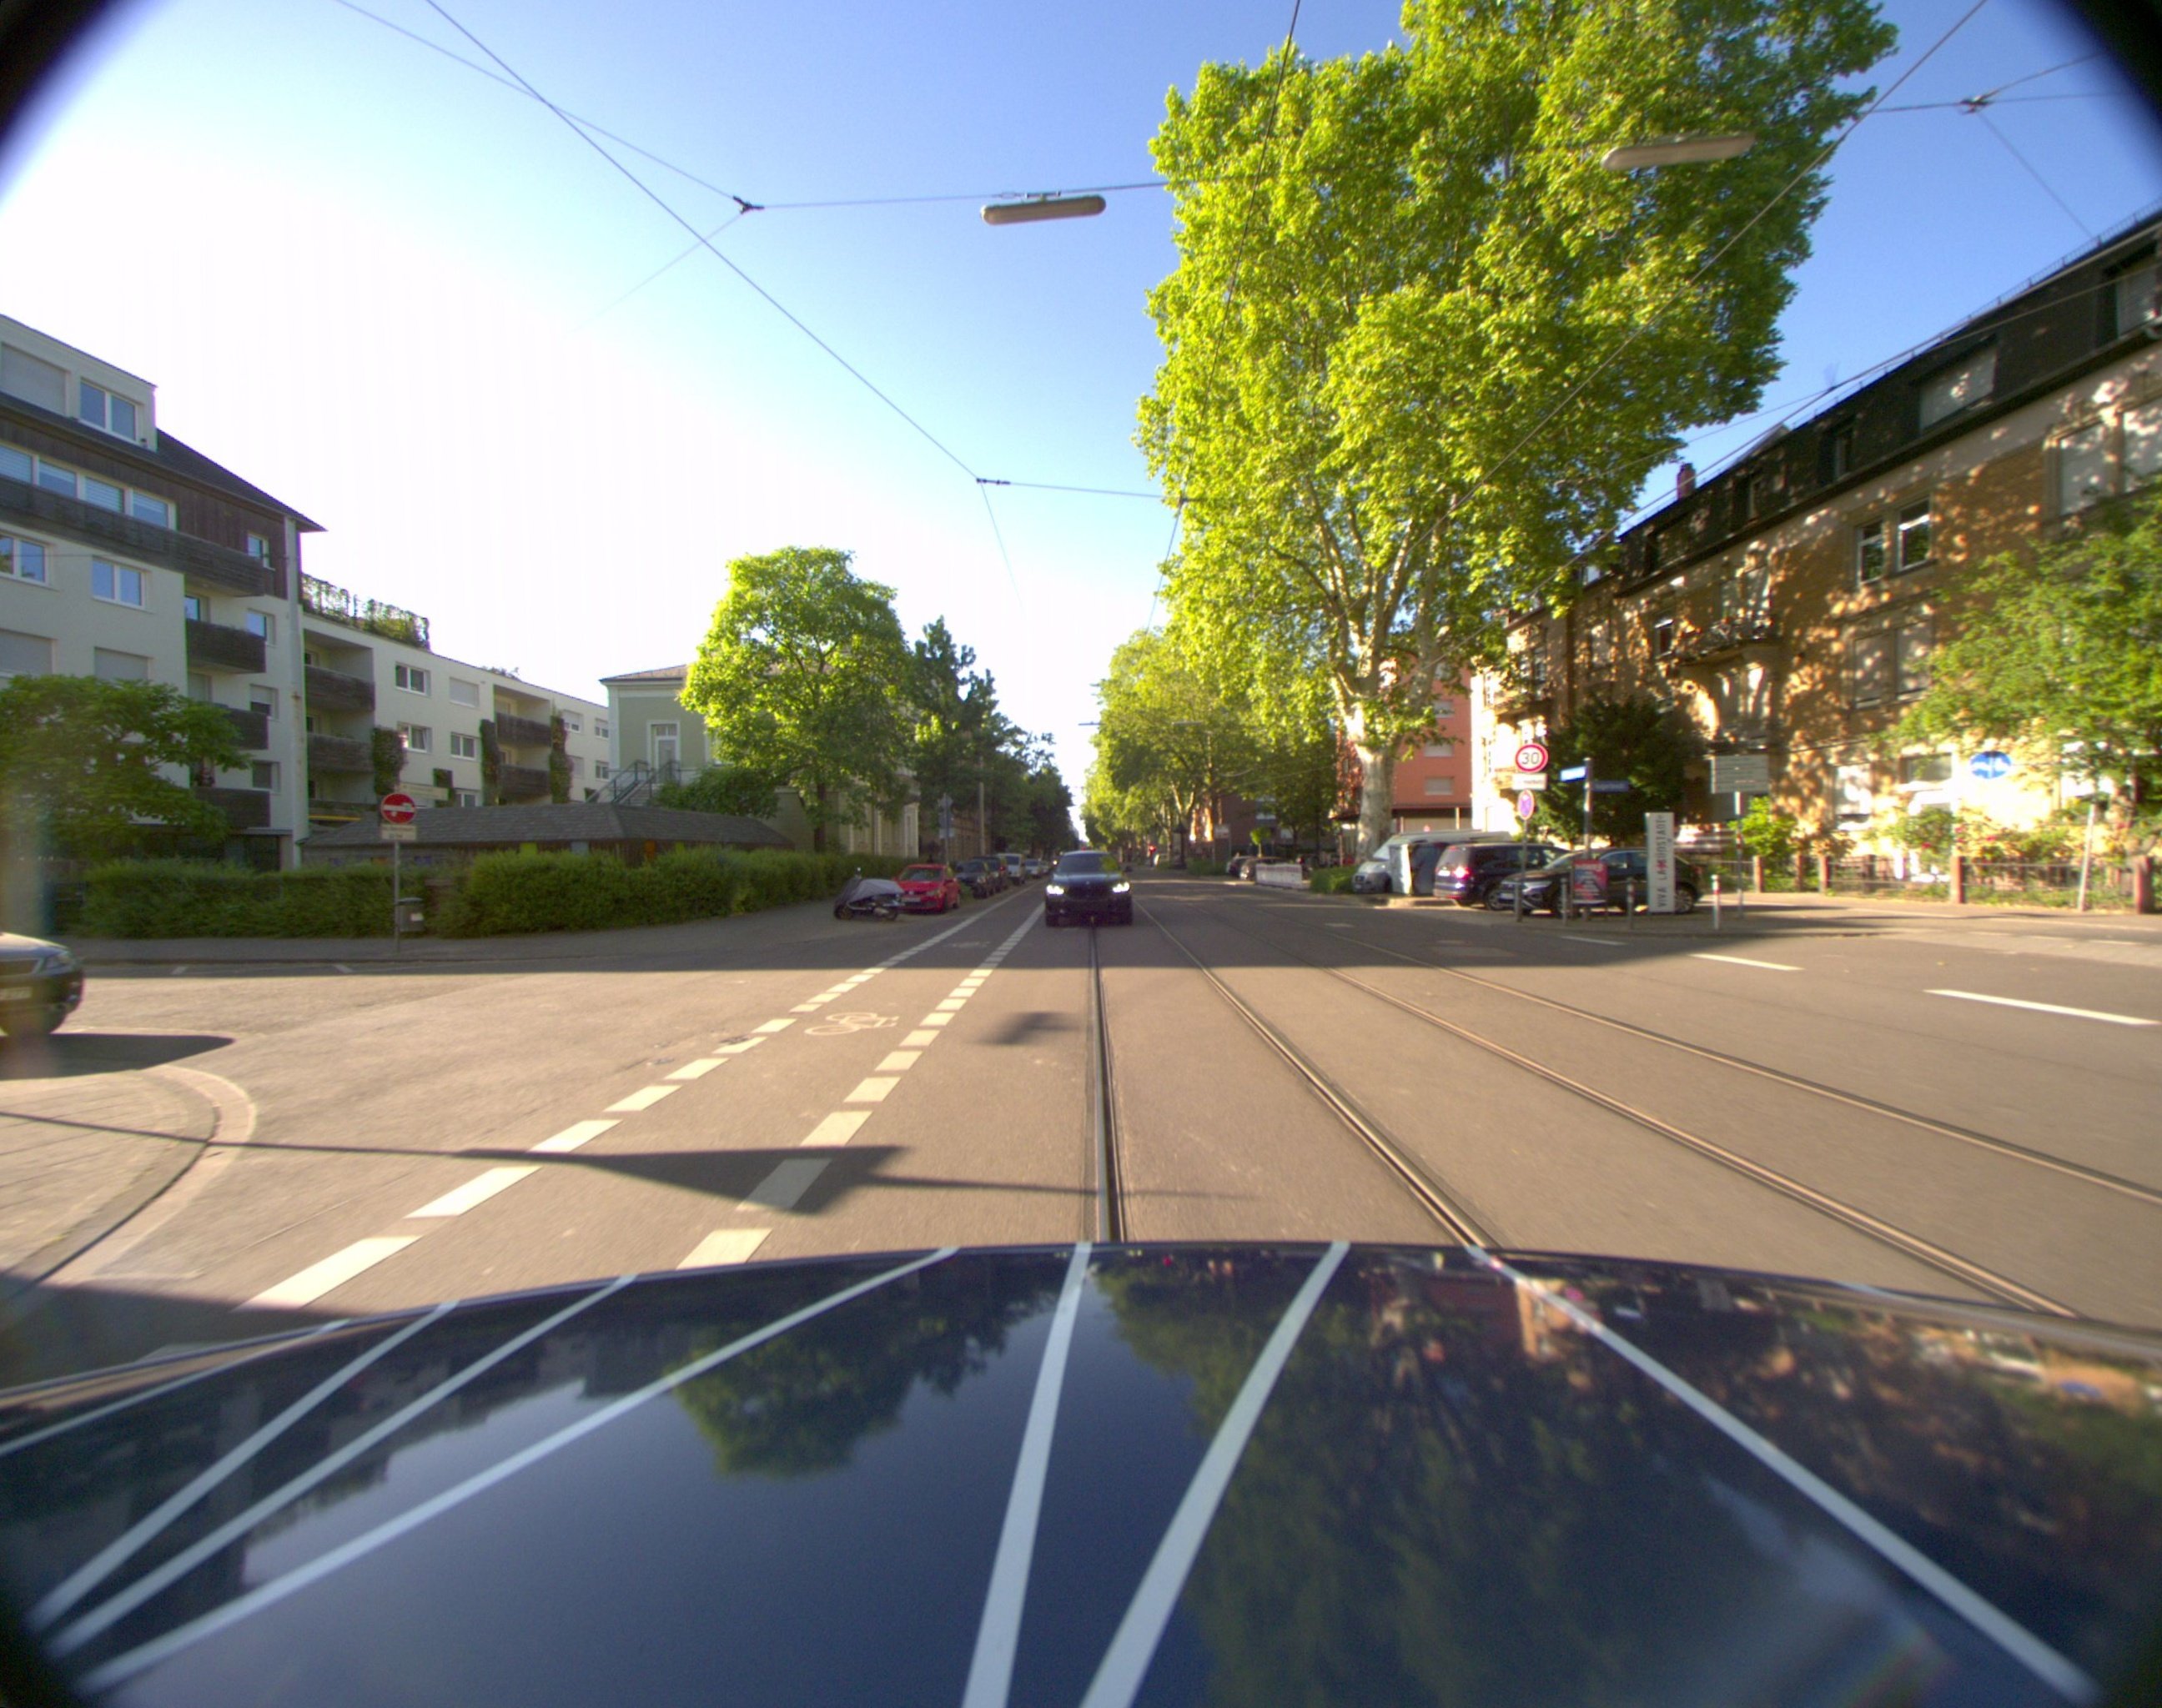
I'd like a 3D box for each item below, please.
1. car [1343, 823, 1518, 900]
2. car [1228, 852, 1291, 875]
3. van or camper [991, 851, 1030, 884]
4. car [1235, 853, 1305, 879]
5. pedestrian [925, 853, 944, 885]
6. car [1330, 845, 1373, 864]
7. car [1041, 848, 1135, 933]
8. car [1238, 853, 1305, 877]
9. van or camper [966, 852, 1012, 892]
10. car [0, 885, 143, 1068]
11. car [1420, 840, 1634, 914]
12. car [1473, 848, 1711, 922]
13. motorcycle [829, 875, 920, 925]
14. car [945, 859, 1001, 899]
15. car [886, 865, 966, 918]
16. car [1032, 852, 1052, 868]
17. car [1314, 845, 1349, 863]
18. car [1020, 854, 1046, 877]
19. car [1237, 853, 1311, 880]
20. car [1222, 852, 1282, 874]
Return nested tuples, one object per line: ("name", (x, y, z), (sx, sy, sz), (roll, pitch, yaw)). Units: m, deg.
("car", (11.863, 0.255, 26.019), (5.019, 2.383, 2.028), (-1, 0, -1))
("car", (12.541, 0.668, 53.494), (3.966, 1.506, 1.810), (-1, 0, -1))
("van or camper", (-4.260, 0.803, 46.799), (1.882, 1.873, 4.922), (1, 0, 1))
("car", (12.047, 0.767, 48.546), (3.966, 1.506, 1.810), (-1, 0, -1))
("pedestrian", (-7.813, 0.781, 40.567), (0.813, 1.669, 0.885), (-1, 1, 0))
("car", (21.506, 0.015, 60.662), (1.671, 1.438, 4.609), (1, 0, -1))
("car", (0.174, 0.765, 18.439), (1.924, 1.741, 4.806), (-1, 0, 1))
("car", (12.673, 0.721, 50.754), (3.966, 1.506, 1.810), (-1, 0, -1))
("van or camper", (-4.465, 0.831, 37.497), (1.694, 1.772, 4.443), (1, 0, 1))
("car", (-11.904, 1.156, 7.015), (4.458, 1.629, 1.904), (-1, -2, 5))
("car", (11.716, 0.589, 20.189), (4.464, 1.755, 2.028), (-1, 0, -1))
("car", (11.647, 0.687, 17.538), (4.170, 1.506, 1.925), (-1, 0, -1))
("motorcycle", (-5.289, 1.170, 19.523), (2.071, 1.152, 0.828), (2, 1, 4))
("car", (-4.439, 1.000, 31.812), (1.694, 1.478, 4.143), (1, 0, 1))
("car", (-4.634, 1.065, 23.196), (1.607, 1.372, 3.864), (1, 0, 1))
("car", (-3.901, 0.571, 76.867), (1.781, 1.490, 4.372), (1, 0, 1))
("car", (21.438, 0.002, 65.207), (1.671, 1.438, 3.651), (1, 0, -1))
("car", (-3.932, 0.910, 62.438), (1.815, 1.702, 4.372), (1, 0, 1))
("car", (11.577, 0.760, 45.743), (3.966, 1.506, 1.810), (-1, 0, -1))
("car", (12.613, 0.670, 56.276), (3.966, 1.506, 1.810), (-1, 0, -1))
